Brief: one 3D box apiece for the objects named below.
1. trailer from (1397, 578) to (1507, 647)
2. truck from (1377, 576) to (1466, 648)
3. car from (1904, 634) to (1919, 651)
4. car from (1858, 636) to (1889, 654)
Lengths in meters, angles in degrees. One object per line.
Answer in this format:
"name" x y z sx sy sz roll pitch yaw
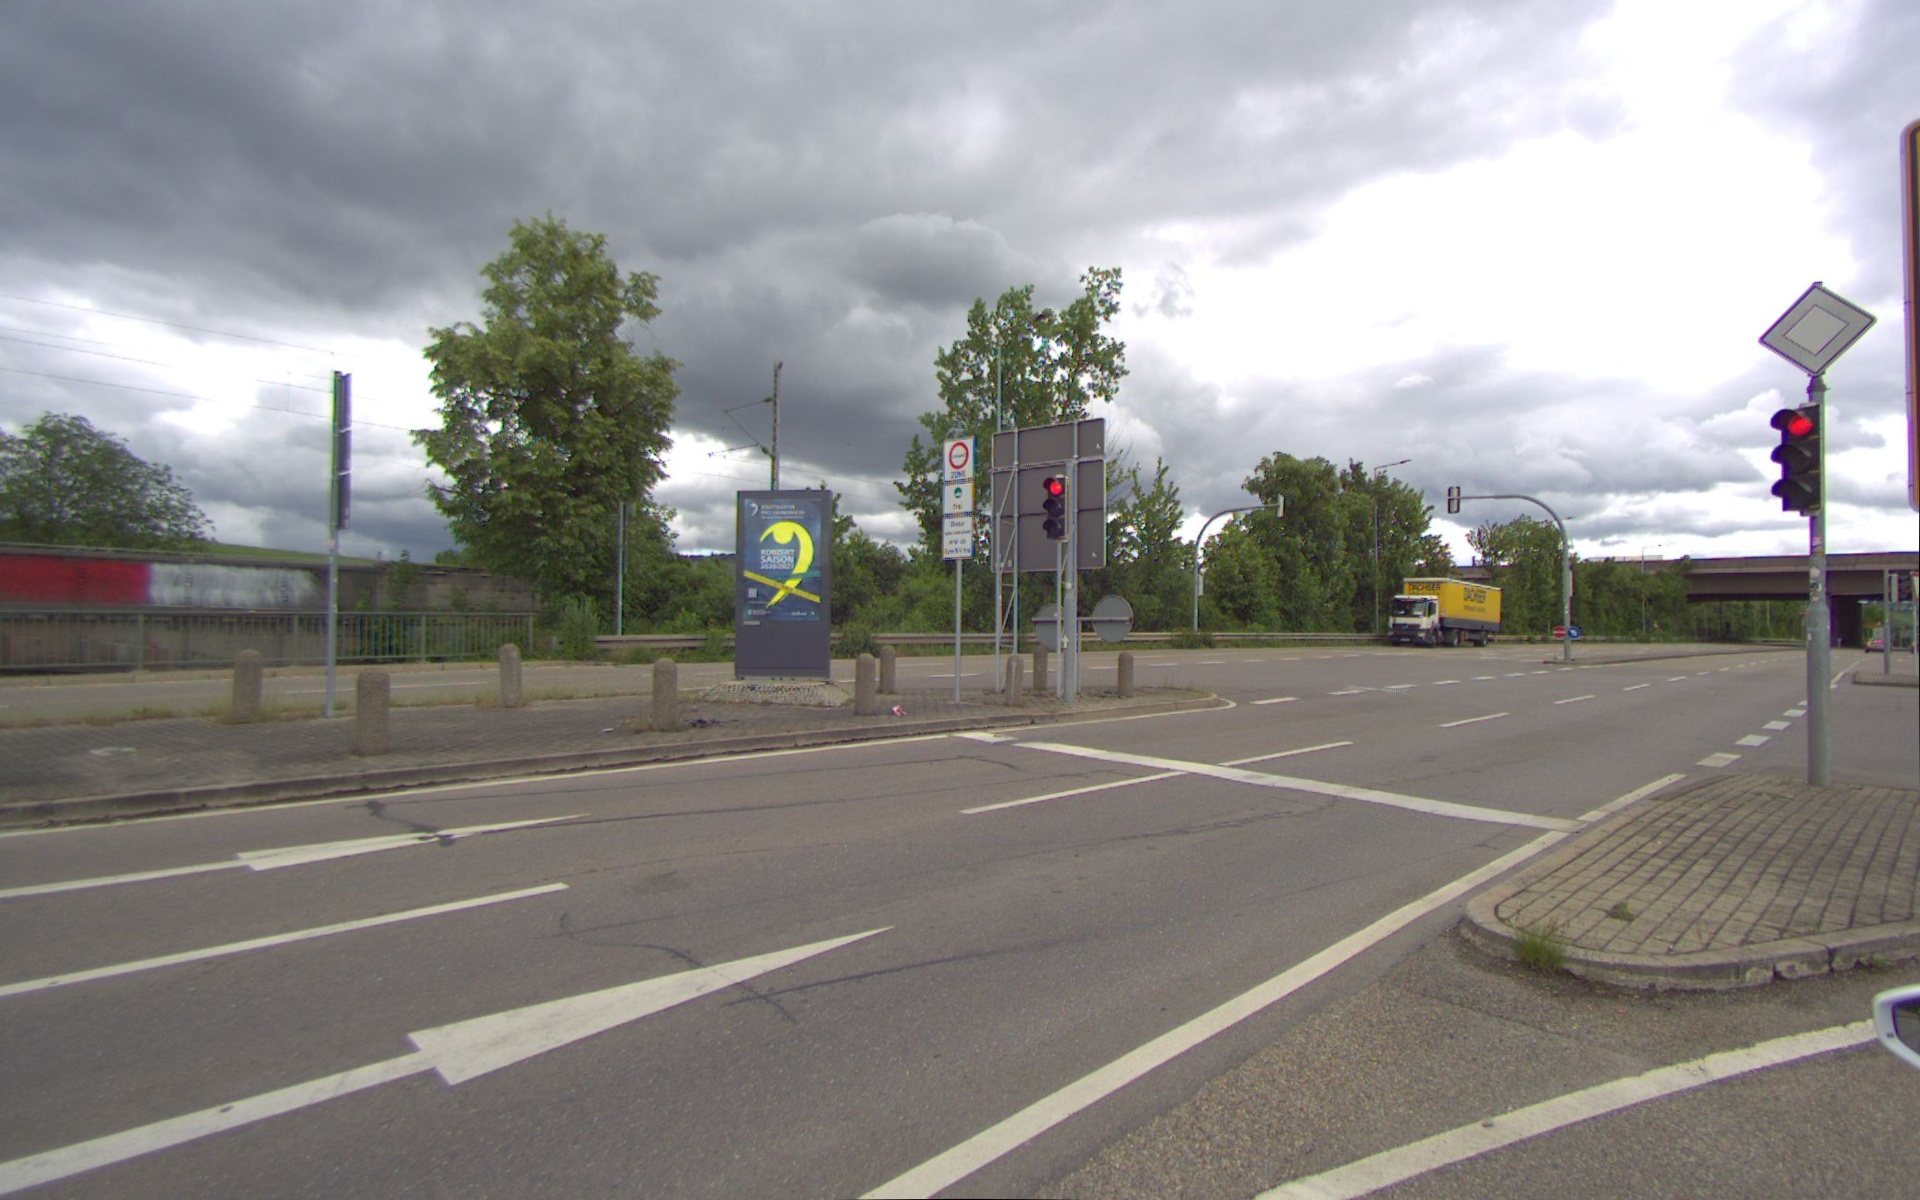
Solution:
"trailer" 32.271 0.819 65.582 2.842 4.139 11.353 3 1 45
"truck" 28.378 0.725 61.631 2.842 4.139 6.446 3 1 45
"car" 92.803 4.176 97.260 1.973 1.483 4.086 1 -2 44
"car" 85.174 4.195 93.648 1.973 1.461 4.086 1 -2 44
